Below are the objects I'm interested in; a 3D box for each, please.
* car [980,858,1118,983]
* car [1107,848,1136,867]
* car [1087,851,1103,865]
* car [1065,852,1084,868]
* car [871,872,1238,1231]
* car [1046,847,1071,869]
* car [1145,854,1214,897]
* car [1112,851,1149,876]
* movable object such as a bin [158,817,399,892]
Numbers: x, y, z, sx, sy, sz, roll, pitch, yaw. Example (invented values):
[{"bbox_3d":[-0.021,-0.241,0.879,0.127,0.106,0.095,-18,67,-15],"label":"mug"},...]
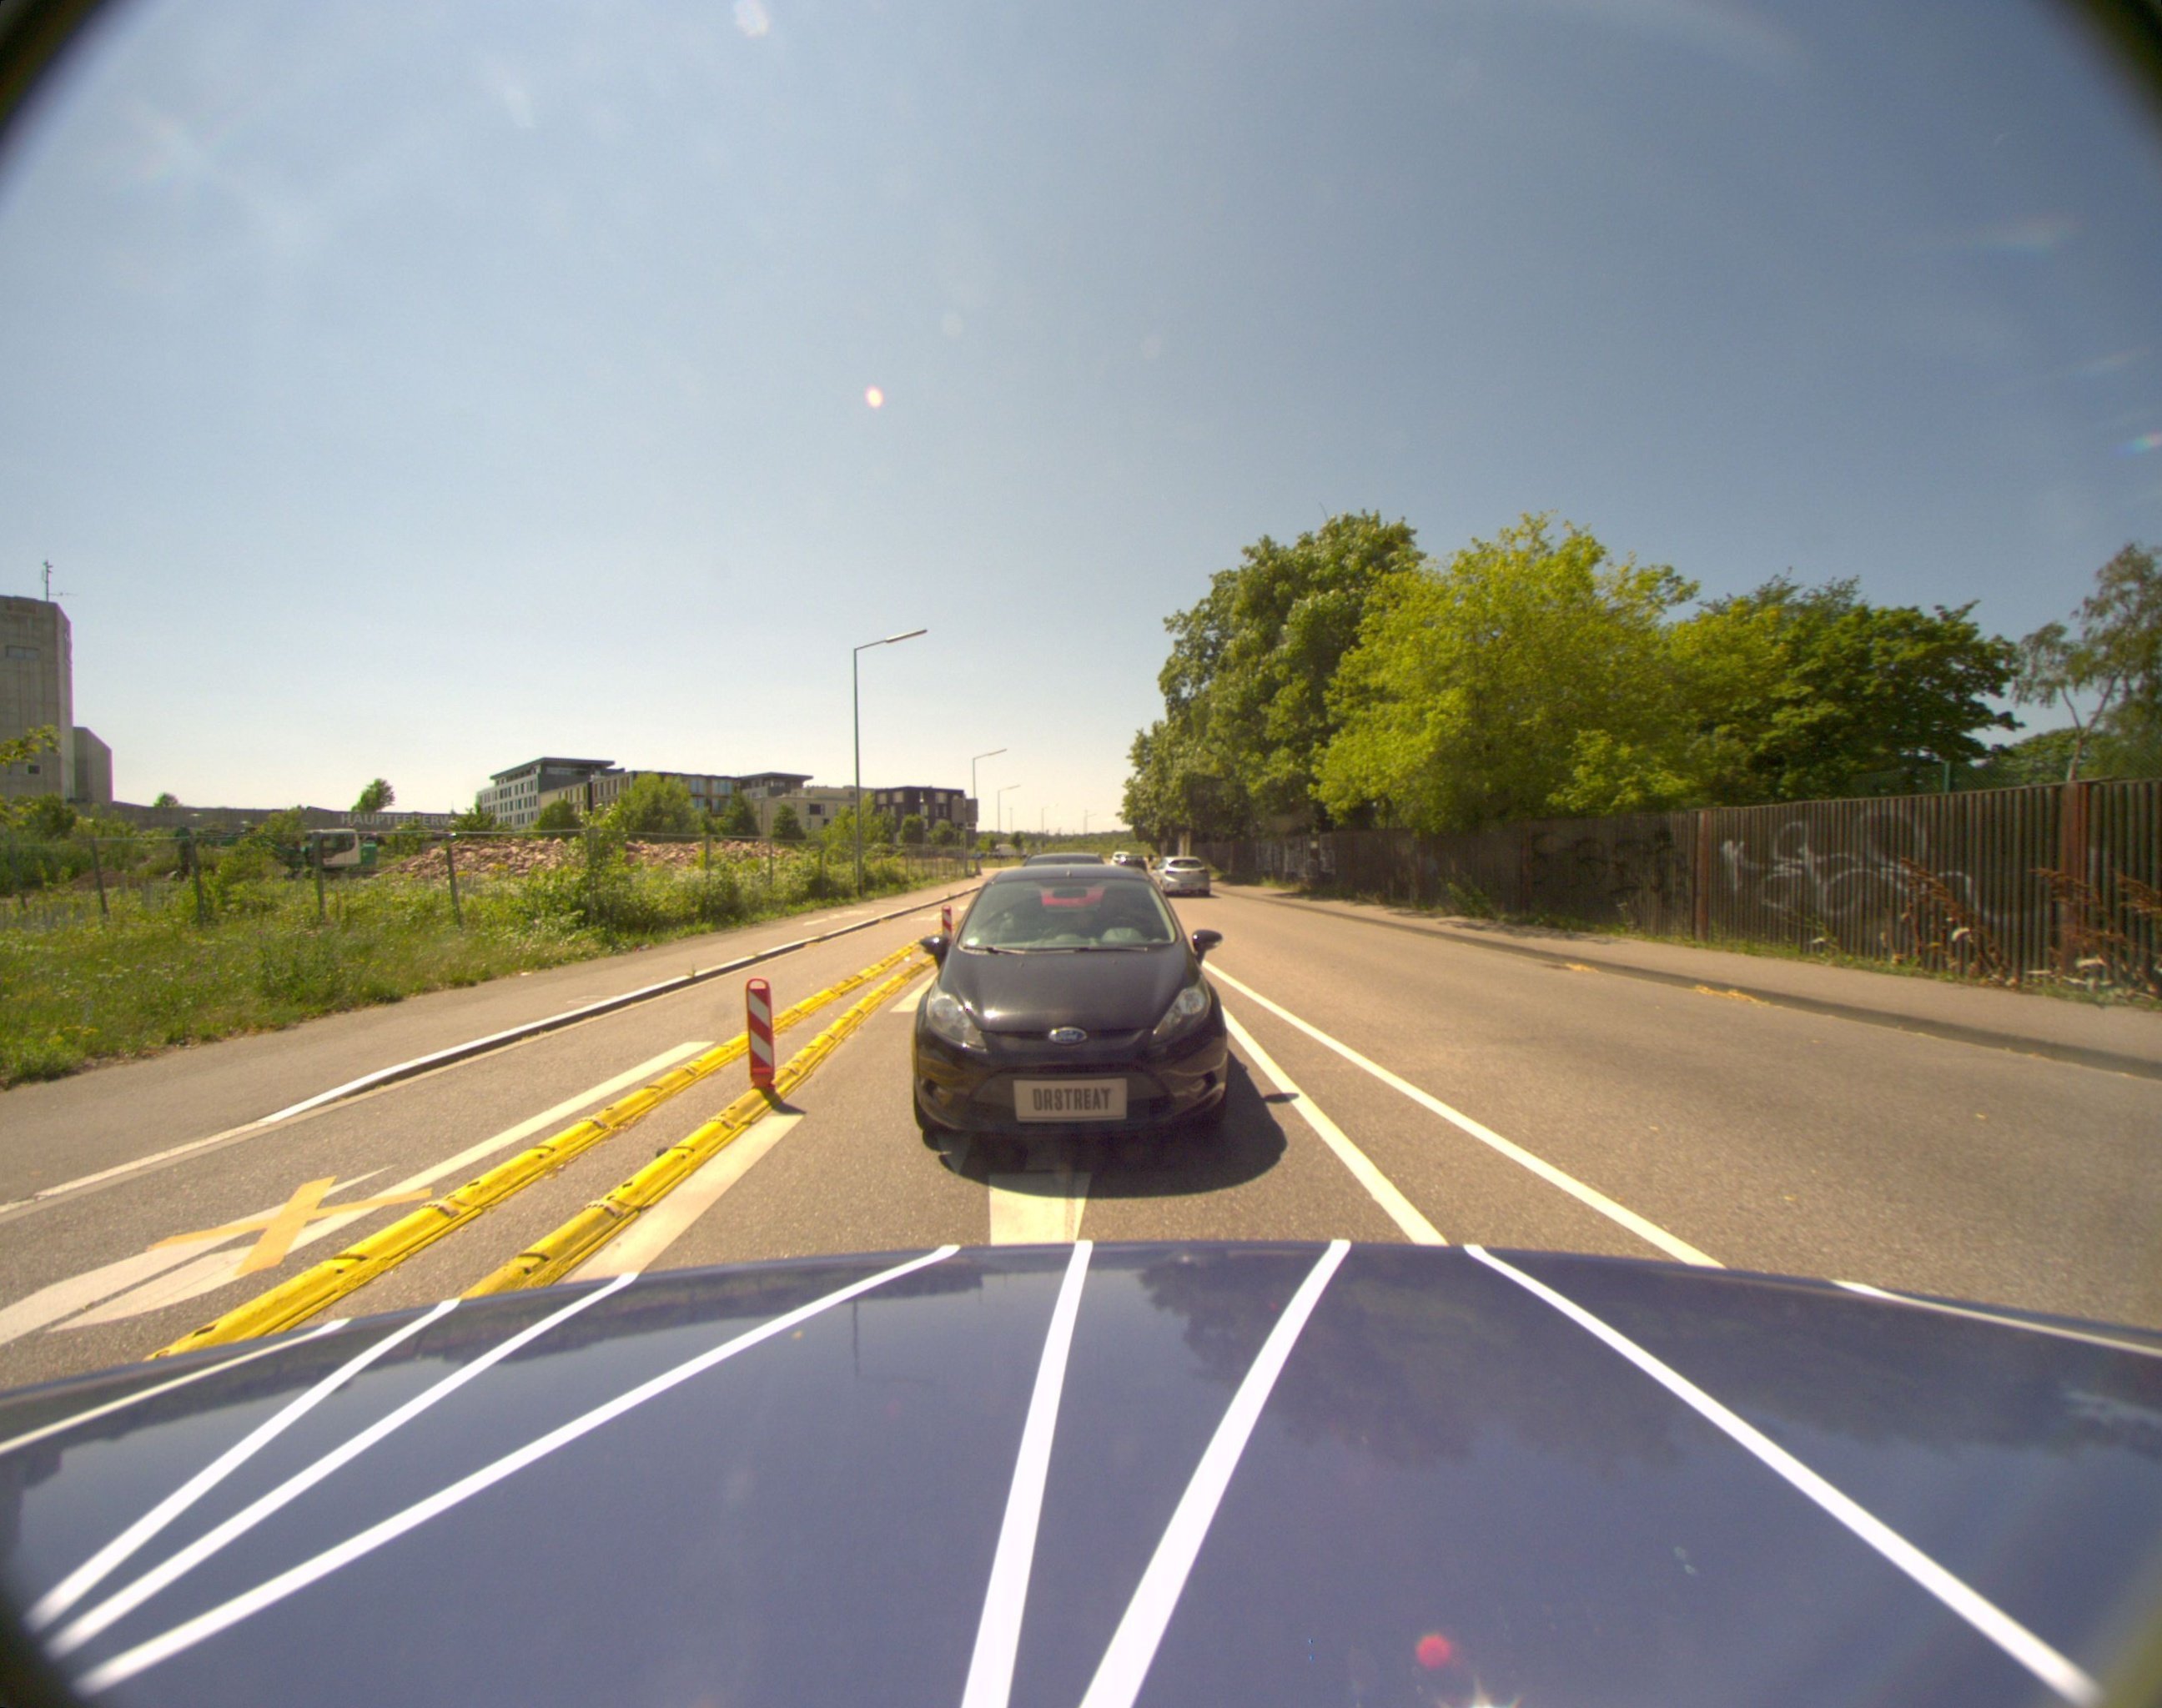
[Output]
[{"bbox_3d":[-0.372,0.847,11.650,1.720,1.518,4.211,-1,0,1],"label":"car"},{"bbox_3d":[3.224,0.272,60.829,1.759,1.477,3.692,-1,0,-5],"label":"car"},{"bbox_3d":[1.630,0.472,91.203,1.759,1.536,3.693,-1,0,-2],"label":"car"},{"bbox_3d":[-0.663,0.559,74.442,1.759,1.536,3.693,-1,0,-2],"label":"car"},{"bbox_3d":[-0.094,0.936,5.325,1.632,1.499,3.819,-1,0,1],"label":"car"},{"bbox_3d":[-1.703,0.260,56.503,1.759,1.536,3.693,-1,0,-2],"label":"car"},{"bbox_3d":[3.559,0.726,28.056,1.719,1.455,3.841,1,0,-5],"label":"car"},{"bbox_3d":[3.041,0.543,47.255,1.759,1.477,3.692,-1,0,-5],"label":"car"},{"bbox_3d":[-38.026,-0.040,36.551,2.810,3.131,7.608,-2,1,8],"label":"movable object such as a bin"}]
